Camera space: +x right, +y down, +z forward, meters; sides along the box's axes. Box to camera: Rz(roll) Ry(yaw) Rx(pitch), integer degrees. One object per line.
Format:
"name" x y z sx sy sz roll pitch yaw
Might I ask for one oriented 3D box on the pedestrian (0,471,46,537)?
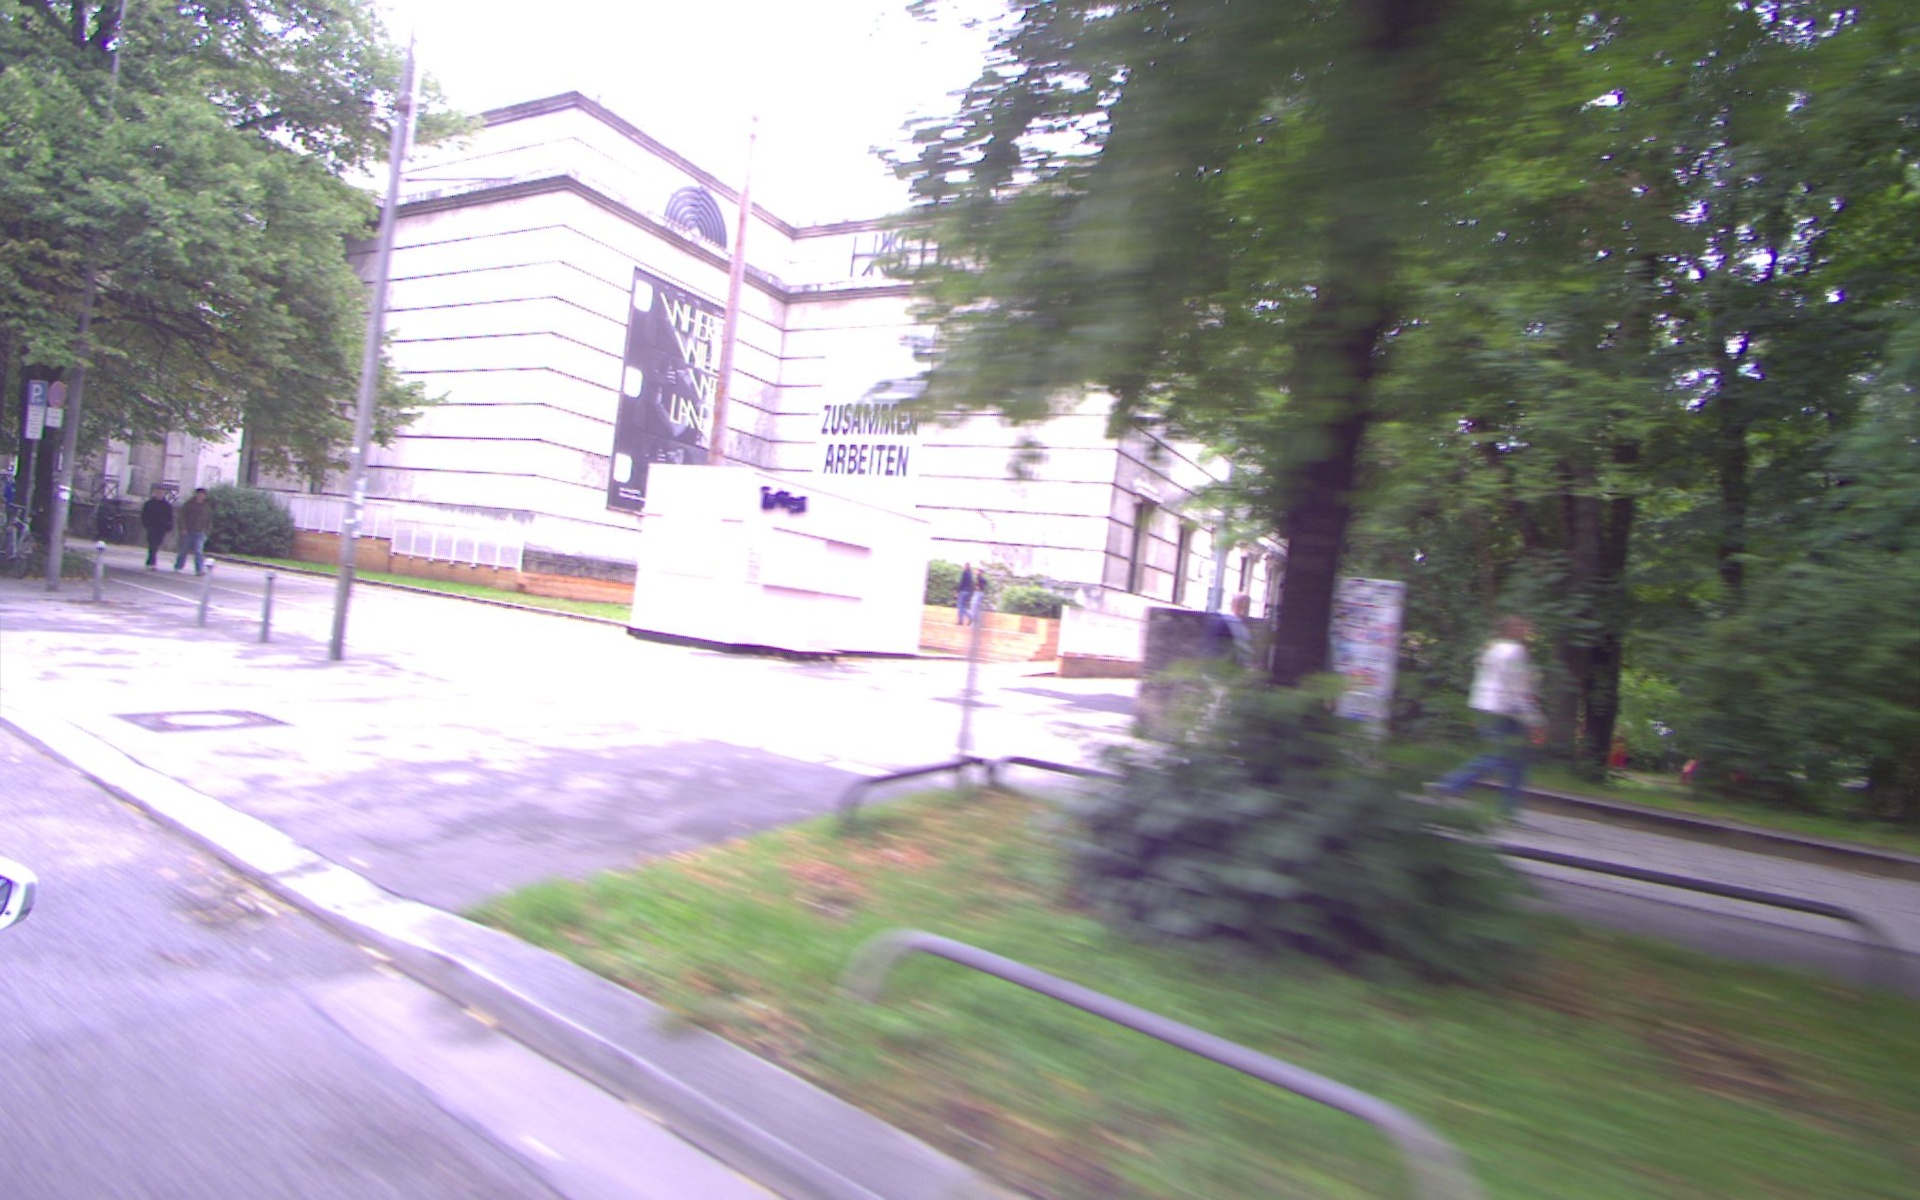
"pedestrian" -29.551 -3.017 31.676 0.758 1.932 0.780 7 -1 31

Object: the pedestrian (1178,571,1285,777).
"pedestrian" 2.563 0.682 9.576 0.710 1.833 0.596 6 2 7

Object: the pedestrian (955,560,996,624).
"pedestrian" 0.402 -0.218 26.819 0.758 1.576 0.488 7 -1 32

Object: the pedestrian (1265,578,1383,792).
"pedestrian" 3.314 0.751 9.220 0.710 1.833 0.596 6 2 7

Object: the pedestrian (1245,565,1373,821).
"pedestrian" 2.987 0.766 8.611 0.712 2.040 0.594 7 2 31

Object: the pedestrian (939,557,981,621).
"pedestrian" -0.007 -0.293 26.341 0.758 1.576 0.488 7 -1 32

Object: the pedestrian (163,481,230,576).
"pedestrian" -16.837 -1.566 22.196 0.758 1.932 0.765 7 -1 31

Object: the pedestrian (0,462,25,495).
"pedestrian" -43.785 -5.613 46.490 0.635 1.389 0.568 7 -1 31

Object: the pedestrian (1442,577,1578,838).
"pedestrian" 4.679 0.873 8.562 0.764 2.041 0.763 7 3 31

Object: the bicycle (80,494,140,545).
"bicycle" -27.484 -2.610 32.500 2.260 1.433 0.700 7 0 31

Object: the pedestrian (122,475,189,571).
"pedestrian" -17.300 -1.652 21.635 0.758 1.932 0.700 7 -1 31
